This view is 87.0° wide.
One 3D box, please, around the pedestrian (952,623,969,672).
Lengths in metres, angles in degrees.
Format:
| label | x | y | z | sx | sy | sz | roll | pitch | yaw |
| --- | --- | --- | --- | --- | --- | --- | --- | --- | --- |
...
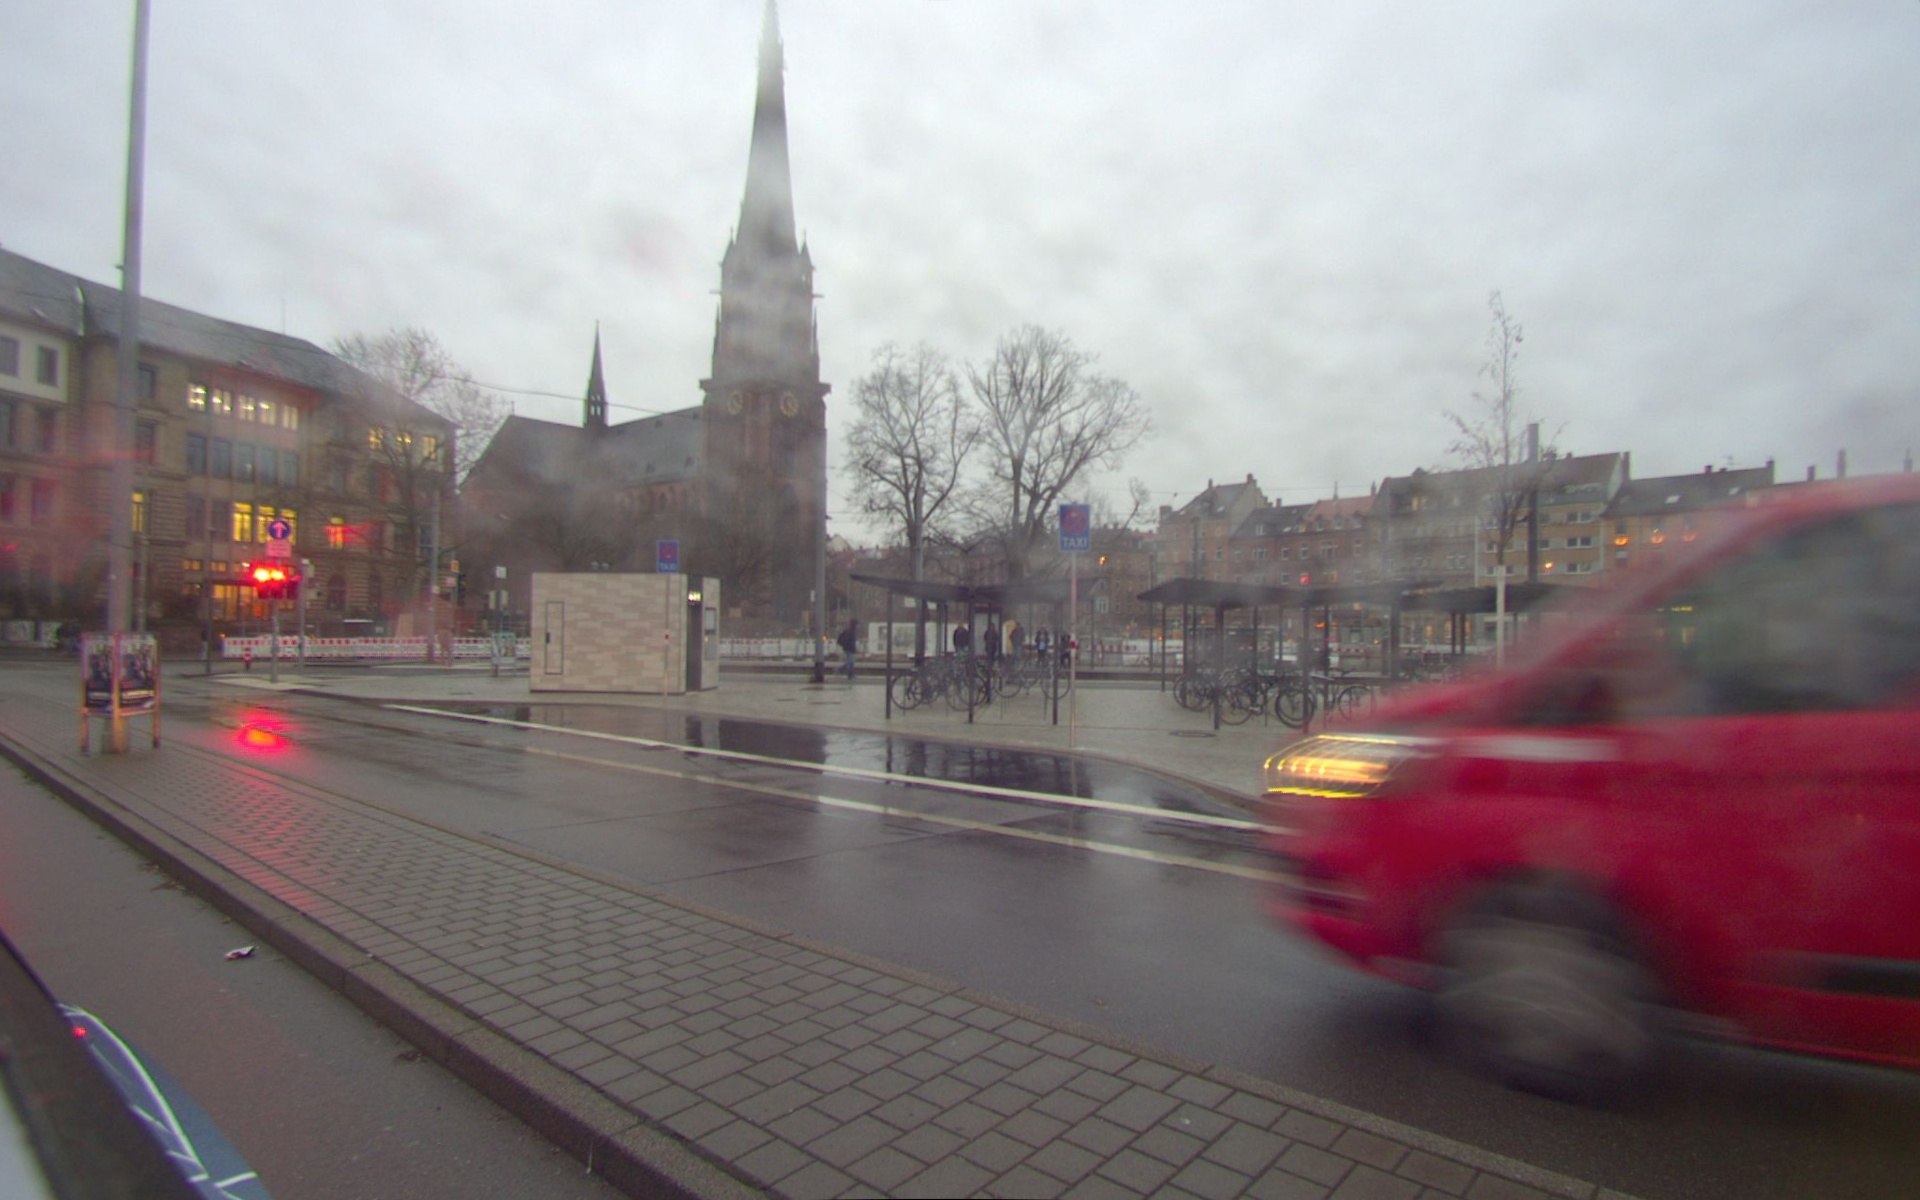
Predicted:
| label | x | y | z | sx | sy | sz | roll | pitch | yaw |
| --- | --- | --- | --- | --- | --- | --- | --- | --- | --- |
| pedestrian | 0.006 | 1.803 | 38.577 | 0.619 | 1.808 | 0.672 | -1 | 0 | -1 |

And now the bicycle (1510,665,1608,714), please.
| label | x | y | z | sx | sy | sz | roll | pitch | yaw |
| --- | --- | --- | --- | --- | --- | --- | --- | --- | --- |
| bicycle | 12.902 | 1.918 | 21.829 | 1.751 | 0.963 | 0.473 | 1 | -1 | 11 |

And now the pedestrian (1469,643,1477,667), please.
| label | x | y | z | sx | sy | sz | roll | pitch | yaw |
| --- | --- | --- | --- | --- | --- | --- | --- | --- | --- |
| pedestrian | 42.998 | 4.591 | 84.854 | 0.436 | 2.029 | 0.414 | 3 | -4 | -41 |

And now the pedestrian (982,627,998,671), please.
| label | x | y | z | sx | sy | sz | roll | pitch | yaw |
| --- | --- | --- | --- | --- | --- | --- | --- | --- | --- |
| pedestrian | 1.150 | 1.860 | 38.650 | 0.556 | 1.664 | 0.540 | -1 | 0 | -1 |

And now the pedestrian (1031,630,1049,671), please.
| label | x | y | z | sx | sy | sz | roll | pitch | yaw |
| --- | --- | --- | --- | --- | --- | --- | --- | --- | --- |
| pedestrian | 3.035 | 1.912 | 38.331 | 0.580 | 1.513 | 0.675 | -1 | 0 | -1 |

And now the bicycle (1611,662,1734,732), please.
| label | x | y | z | sx | sy | sz | roll | pitch | yaw |
| --- | --- | --- | --- | --- | --- | --- | --- | --- | --- |
| bicycle | 12.691 | 1.723 | 18.045 | 1.731 | 1.165 | 0.617 | 1 | -1 | 1 |

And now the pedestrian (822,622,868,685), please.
| label | x | y | z | sx | sy | sz | roll | pitch | yaw |
| --- | --- | --- | --- | --- | --- | --- | --- | --- | --- |
| pedestrian | -3.319 | 1.539 | 29.205 | 1.056 | 1.778 | 1.008 | 0 | -3 | 10 |

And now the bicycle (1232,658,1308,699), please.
| label | x | y | z | sx | sy | sz | roll | pitch | yaw |
| --- | --- | --- | --- | --- | --- | --- | --- | --- | --- |
| bicycle | 7.664 | 1.941 | 25.069 | 1.729 | 0.946 | 0.474 | 1 | -1 | 7 |

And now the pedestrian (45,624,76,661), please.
| label | x | y | z | sx | sy | sz | roll | pitch | yaw |
| --- | --- | --- | --- | --- | --- | --- | --- | --- | --- |
| pedestrian | -45.230 | 2.125 | 50.912 | 0.887 | 1.830 | 0.672 | 1 | -2 | 7 |

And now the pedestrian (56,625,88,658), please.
| label | x | y | z | sx | sy | sz | roll | pitch | yaw |
| --- | --- | --- | --- | --- | --- | --- | --- | --- | --- |
| pedestrian | -47.368 | 2.213 | 53.963 | 0.916 | 1.737 | 0.826 | 0 | -3 | 4 |

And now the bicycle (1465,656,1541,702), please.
| label | x | y | z | sx | sy | sz | roll | pitch | yaw |
| --- | --- | --- | --- | --- | --- | --- | --- | --- | --- |
| bicycle | 13.234 | 1.916 | 24.663 | 1.551 | 1.044 | 0.521 | 1 | -1 | 1 |

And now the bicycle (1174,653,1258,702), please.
| label | x | y | z | sx | sy | sz | roll | pitch | yaw |
| --- | --- | --- | --- | --- | --- | --- | --- | --- | --- |
| bicycle | 6.065 | 1.829 | 24.039 | 1.905 | 1.078 | 0.473 | 1 | -1 | 11 |

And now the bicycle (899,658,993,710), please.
| label | x | y | z | sx | sy | sz | roll | pitch | yaw |
| --- | --- | --- | --- | --- | --- | --- | --- | --- | --- |
| bicycle | -0.286 | 1.733 | 21.103 | 1.905 | 0.993 | 0.473 | 1 | -1 | 11 |

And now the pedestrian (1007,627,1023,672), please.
| label | x | y | z | sx | sy | sz | roll | pitch | yaw |
| --- | --- | --- | --- | --- | --- | --- | --- | --- | --- |
| pedestrian | 2.069 | 1.857 | 38.113 | 0.543 | 1.648 | 0.571 | -1 | 0 | -1 |

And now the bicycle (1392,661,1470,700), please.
| label | x | y | z | sx | sy | sz | roll | pitch | yaw |
| --- | --- | --- | --- | --- | --- | --- | --- | --- | --- |
| bicycle | 11.622 | 1.991 | 24.990 | 1.672 | 0.898 | 0.474 | 1 | -1 | 5 |

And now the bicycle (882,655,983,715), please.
| label | x | y | z | sx | sy | sz | roll | pitch | yaw |
| --- | --- | --- | --- | --- | --- | --- | --- | --- | --- |
| bicycle | -0.537 | 1.653 | 19.866 | 1.905 | 1.078 | 0.473 | 1 | -1 | 11 |

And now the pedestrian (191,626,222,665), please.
| label | x | y | z | sx | sy | sz | roll | pitch | yaw |
| --- | --- | --- | --- | --- | --- | --- | --- | --- | --- |
| pedestrian | -37.846 | 2.278 | 50.824 | 0.960 | 1.915 | 0.674 | 1 | -2 | -1 |

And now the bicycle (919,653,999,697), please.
| label | x | y | z | sx | sy | sz | roll | pitch | yaw |
| --- | --- | --- | --- | --- | --- | --- | --- | --- | --- |
| bicycle | -0.013 | 1.828 | 24.868 | 1.905 | 0.993 | 0.473 | 1 | -1 | 11 |

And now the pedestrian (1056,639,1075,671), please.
| label | x | y | z | sx | sy | sz | roll | pitch | yaw |
| --- | --- | --- | --- | --- | --- | --- | --- | --- | --- |
| pedestrian | 3.982 | 2.073 | 38.323 | 0.610 | 1.165 | 0.806 | -1 | 0 | -1 |

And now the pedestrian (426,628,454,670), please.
| label | x | y | z | sx | sy | sz | roll | pitch | yaw |
| --- | --- | --- | --- | --- | --- | --- | --- | --- | --- |
| pedestrian | -21.498 | 2.009 | 41.851 | 0.760 | 1.673 | 1.211 | -1 | 0 | -14 |

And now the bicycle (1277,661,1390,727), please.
| label | x | y | z | sx | sy | sz | roll | pitch | yaw |
| --- | --- | --- | --- | --- | --- | --- | --- | --- | --- |
| bicycle | 6.947 | 1.734 | 18.865 | 1.905 | 1.129 | 0.473 | 1 | -1 | 11 |

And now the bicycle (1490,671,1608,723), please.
| label | x | y | z | sx | sy | sz | roll | pitch | yaw |
| --- | --- | --- | --- | --- | --- | --- | --- | --- | --- |
| bicycle | 11.369 | 1.861 | 19.570 | 1.905 | 0.898 | 0.473 | 1 | -1 | 11 |

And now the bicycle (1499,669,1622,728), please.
| label | x | y | z | sx | sy | sz | roll | pitch | yaw |
| --- | --- | --- | --- | --- | --- | --- | --- | --- | --- |
| bicycle | 11.127 | 1.813 | 18.783 | 1.905 | 0.983 | 0.473 | 1 | -1 | 11 |

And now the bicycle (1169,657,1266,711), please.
| label | x | y | z | sx | sy | sz | roll | pitch | yaw |
| --- | --- | --- | --- | --- | --- | --- | --- | --- | --- |
| bicycle | 5.432 | 1.772 | 21.400 | 1.899 | 1.078 | 0.474 | 1 | -1 | 2 |

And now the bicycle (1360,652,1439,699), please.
| label | x | y | z | sx | sy | sz | roll | pitch | yaw |
| --- | --- | --- | --- | --- | --- | --- | --- | --- | --- |
| bicycle | 11.186 | 1.924 | 25.801 | 1.780 | 1.116 | 0.473 | 1 | -1 | 11 |

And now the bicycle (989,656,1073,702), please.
| label | x | y | z | sx | sy | sz | roll | pitch | yaw |
| --- | --- | --- | --- | --- | --- | --- | --- | --- | --- |
| bicycle | 1.641 | 1.821 | 23.422 | 1.905 | 0.993 | 0.473 | 1 | -1 | 11 |

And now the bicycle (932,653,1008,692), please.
| label | x | y | z | sx | sy | sz | roll | pitch | yaw |
| --- | --- | --- | --- | --- | --- | --- | --- | --- | --- |
| bicycle | 0.266 | 1.868 | 26.086 | 1.905 | 0.917 | 0.473 | 1 | -1 | 11 |

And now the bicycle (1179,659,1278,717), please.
| label | x | y | z | sx | sy | sz | roll | pitch | yaw |
| --- | --- | --- | --- | --- | --- | --- | --- | --- | --- |
| bicycle | 5.434 | 1.773 | 20.546 | 1.905 | 1.078 | 0.473 | 1 | -1 | 11 |

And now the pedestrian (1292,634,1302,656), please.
| label | x | y | z | sx | sy | sz | roll | pitch | yaw |
| --- | --- | --- | --- | --- | --- | --- | --- | --- | --- |
| pedestrian | 32.210 | 4.313 | 96.818 | 0.579 | 2.029 | 0.707 | 3 | -4 | -40 |

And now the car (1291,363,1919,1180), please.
| label | x | y | z | sx | sy | sz | roll | pitch | yaw |
| --- | --- | --- | --- | --- | --- | --- | --- | --- | --- |
| car | 3.578 | 0.462 | 3.021 | 4.628 | 2.086 | 1.909 | -1 | -3 | 32 |

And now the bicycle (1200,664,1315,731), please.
| label | x | y | z | sx | sy | sz | roll | pitch | yaw |
| --- | --- | --- | --- | --- | --- | --- | --- | --- | --- |
| bicycle | 5.258 | 1.719 | 17.955 | 1.905 | 1.078 | 0.473 | 1 | -1 | 11 |

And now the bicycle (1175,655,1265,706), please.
| label | x | y | z | sx | sy | sz | roll | pitch | yaw |
| --- | --- | --- | --- | --- | --- | --- | --- | --- | --- |
| bicycle | 5.851 | 1.808 | 22.849 | 1.905 | 1.078 | 0.473 | 1 | -1 | 11 |

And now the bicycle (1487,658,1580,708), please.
| label | x | y | z | sx | sy | sz | roll | pitch | yaw |
| --- | --- | --- | --- | --- | --- | --- | --- | --- | --- |
| bicycle | 13.254 | 1.908 | 23.416 | 1.810 | 1.081 | 0.474 | 1 | -1 | 8 |
